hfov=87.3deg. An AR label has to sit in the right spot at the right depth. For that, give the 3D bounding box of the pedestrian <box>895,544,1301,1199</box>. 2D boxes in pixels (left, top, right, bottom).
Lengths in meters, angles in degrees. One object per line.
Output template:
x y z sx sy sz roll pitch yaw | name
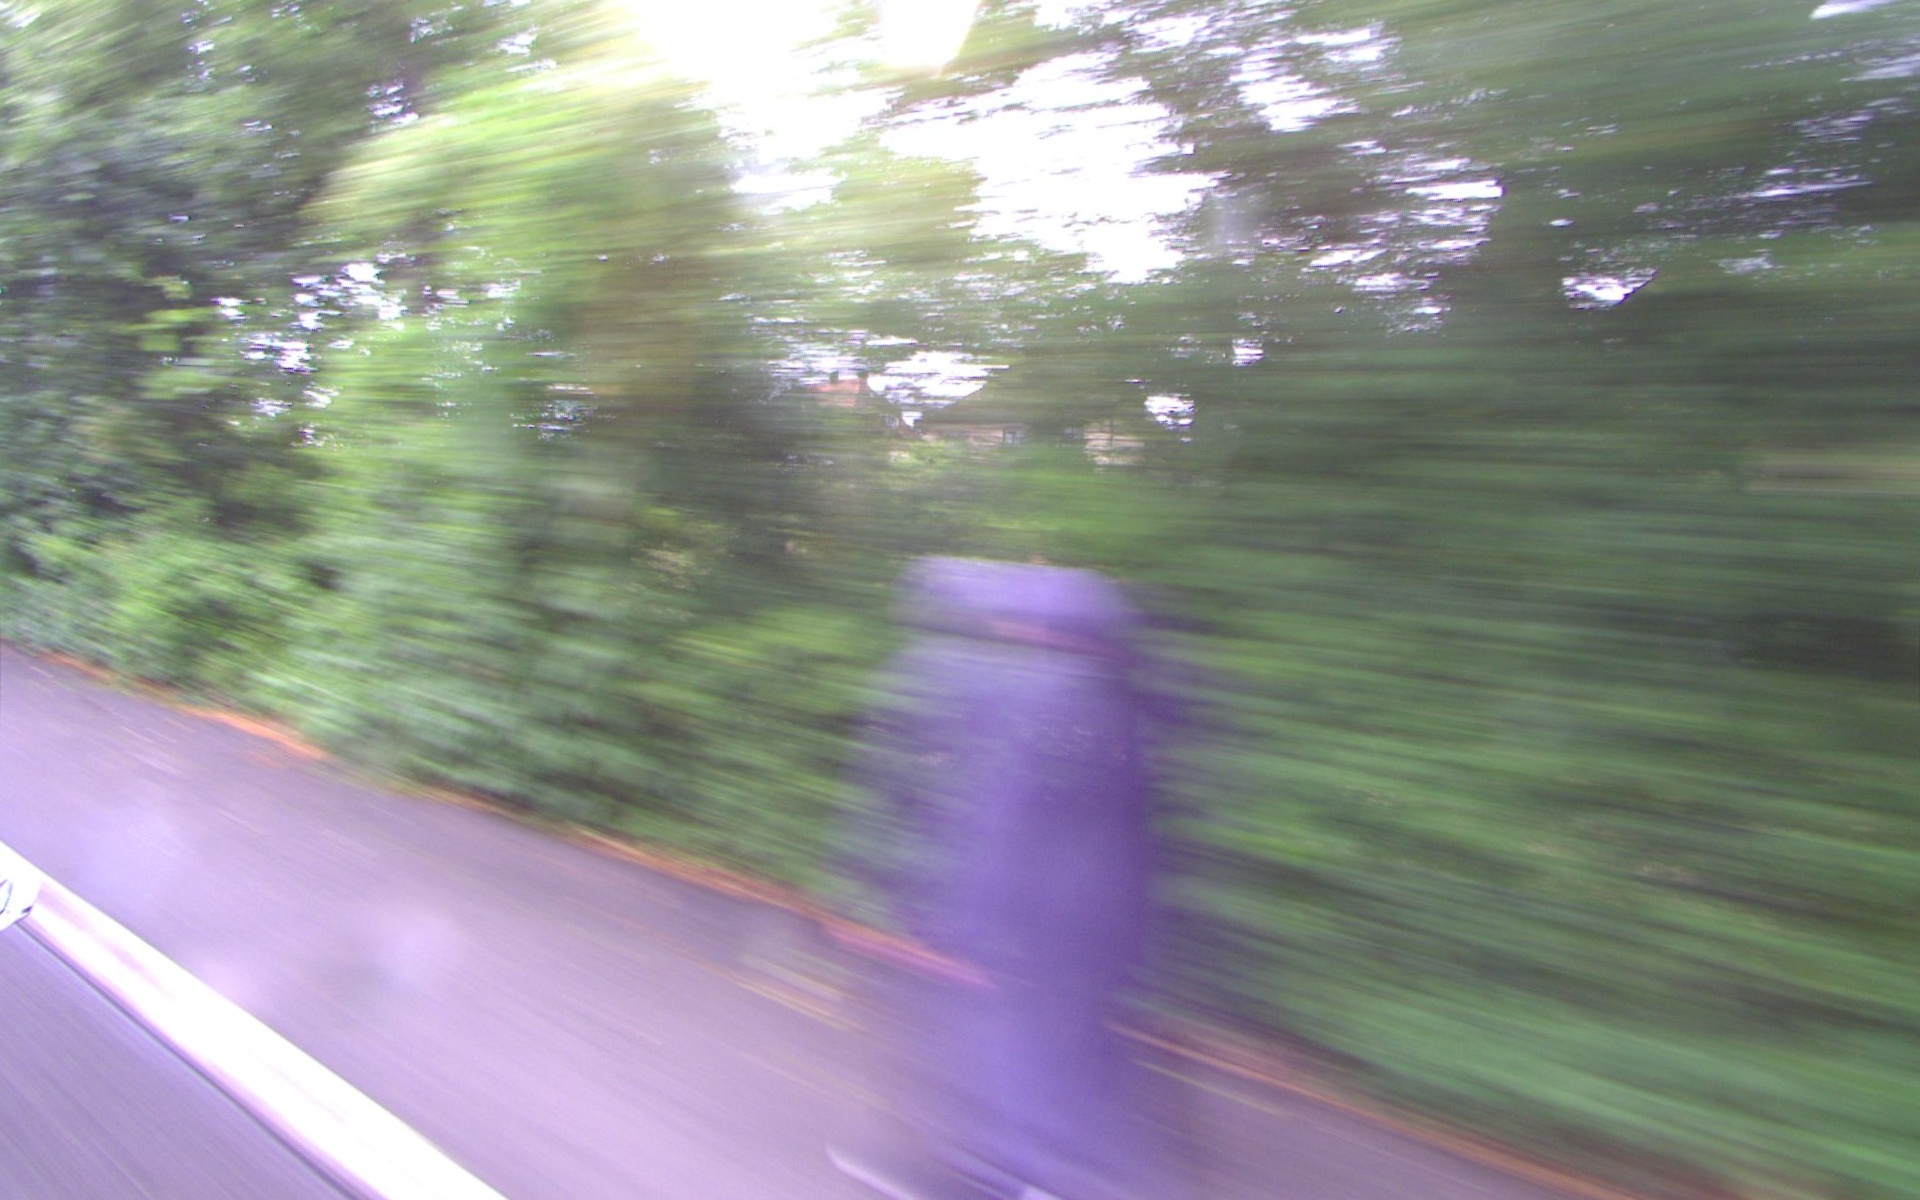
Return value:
0.372 0.702 2.770 0.660 1.585 0.594 10 1 45 | pedestrian

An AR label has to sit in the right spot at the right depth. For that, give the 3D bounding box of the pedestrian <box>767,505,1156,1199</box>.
0.004 0.617 2.286 0.550 1.586 0.481 5 1 -44 | pedestrian
